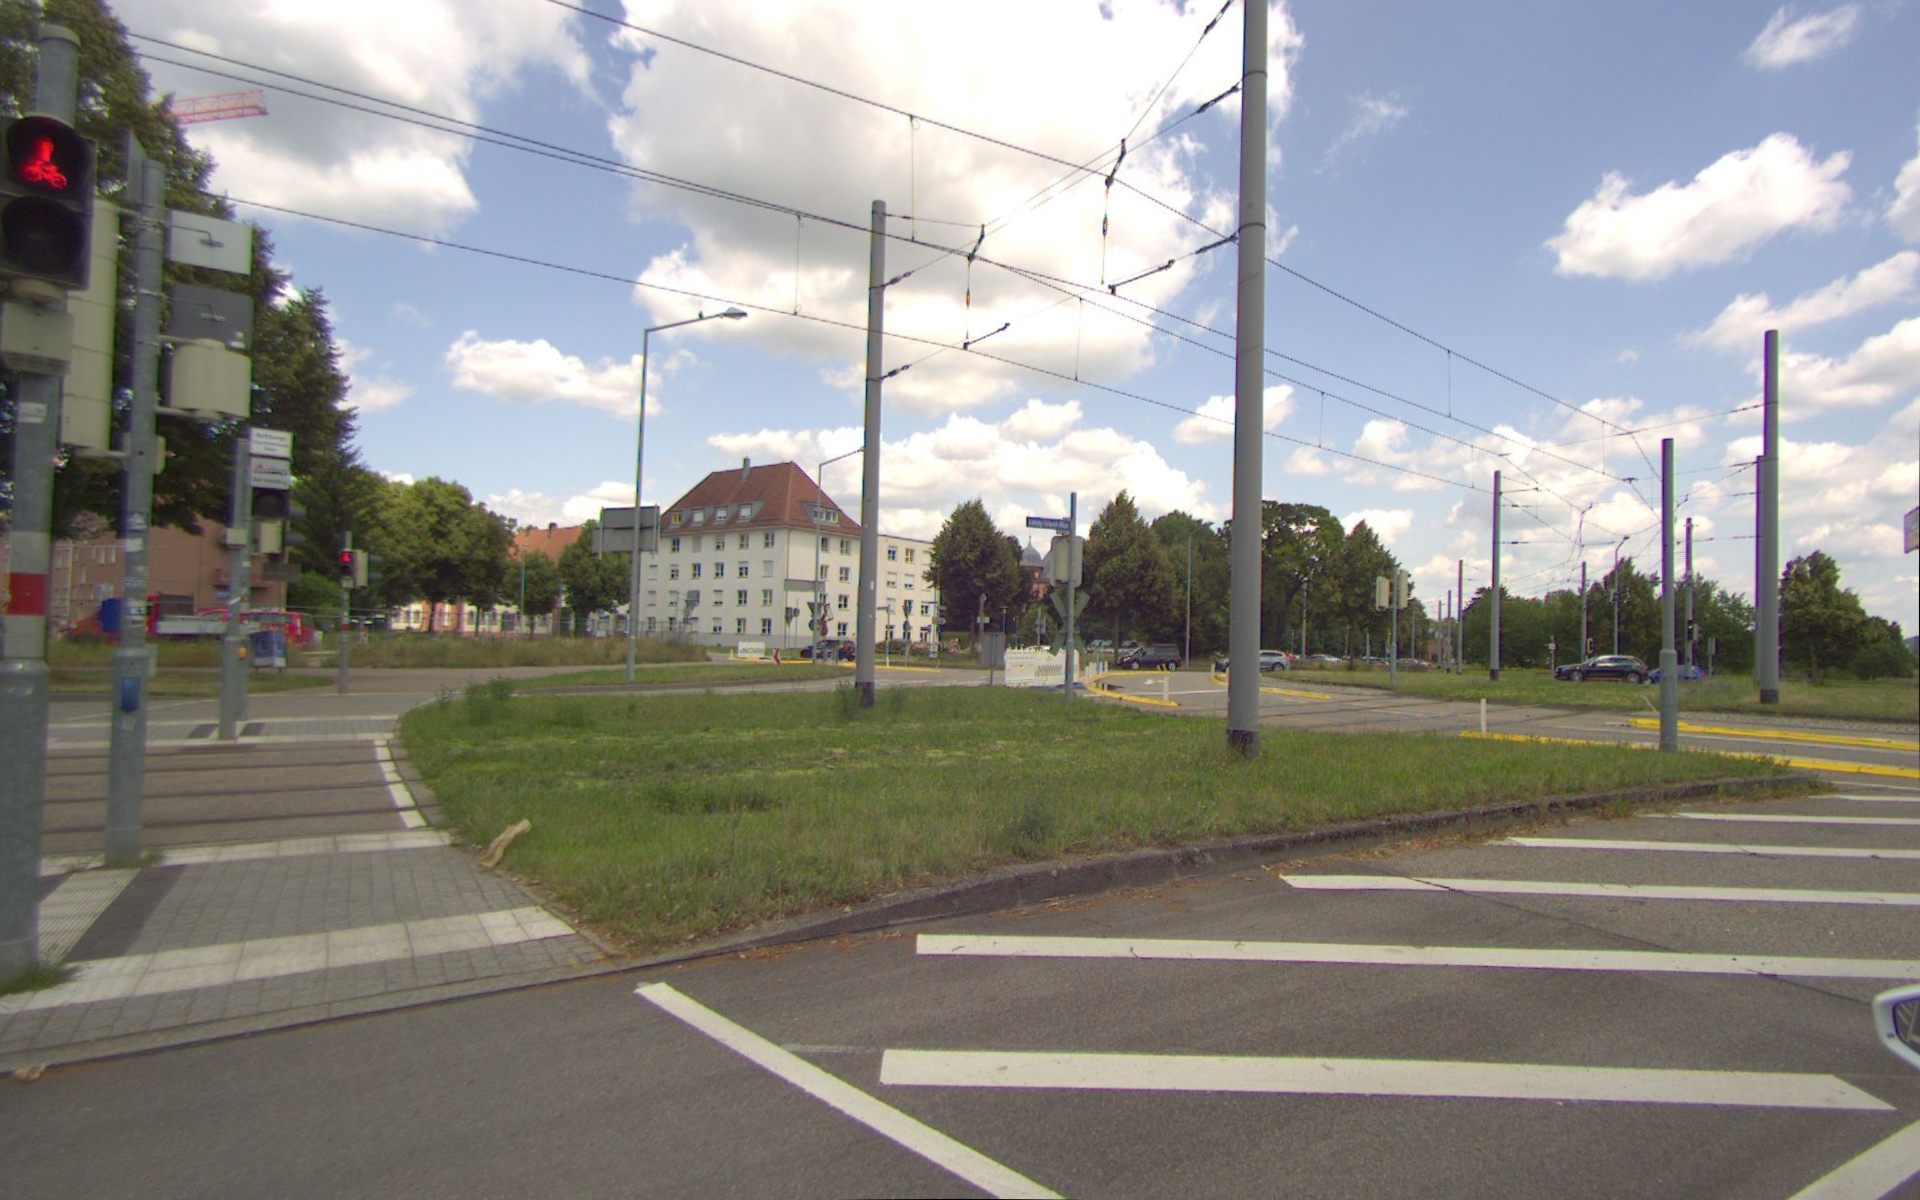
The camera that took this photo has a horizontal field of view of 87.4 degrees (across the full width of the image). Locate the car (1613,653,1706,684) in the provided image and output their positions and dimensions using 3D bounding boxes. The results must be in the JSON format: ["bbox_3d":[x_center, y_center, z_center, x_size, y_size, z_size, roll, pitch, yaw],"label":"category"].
[{"bbox_3d":[44.722,4.367,64.346,4.637,1.814,1.847,0,-2,26],"label":"car"}]

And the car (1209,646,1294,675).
[{"bbox_3d":[18.749,3.892,64.648,4.846,1.648,2.066,1,0,0],"label":"car"}]

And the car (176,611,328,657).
[{"bbox_3d":[-31.724,1.529,45.200,5.096,1.876,2.082,2,-2,-14],"label":"car"}]

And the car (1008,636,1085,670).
[{"bbox_3d":[5.621,3.453,65.441,4.639,2.040,1.997,2,-2,-9],"label":"car"}]

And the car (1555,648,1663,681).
[{"bbox_3d":[37.185,3.673,57.752,4.975,1.697,1.999,0,-2,25],"label":"car"}]

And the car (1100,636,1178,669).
[{"bbox_3d":[11.766,3.424,66.072,4.643,2.040,1.996,2,-2,-12],"label":"car"}]

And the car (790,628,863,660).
[{"bbox_3d":[-9.244,3.054,69.536,4.634,2.040,2.000,1,-2,22],"label":"car"}]

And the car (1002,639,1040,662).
[{"bbox_3d":[5.914,4.872,96.935,1.965,2.040,3.991,0,-2,32],"label":"car"}]

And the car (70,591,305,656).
[{"bbox_3d":[-29.440,0.948,38.547,6.714,2.226,2.391,2,-2,-9],"label":"car"}]
